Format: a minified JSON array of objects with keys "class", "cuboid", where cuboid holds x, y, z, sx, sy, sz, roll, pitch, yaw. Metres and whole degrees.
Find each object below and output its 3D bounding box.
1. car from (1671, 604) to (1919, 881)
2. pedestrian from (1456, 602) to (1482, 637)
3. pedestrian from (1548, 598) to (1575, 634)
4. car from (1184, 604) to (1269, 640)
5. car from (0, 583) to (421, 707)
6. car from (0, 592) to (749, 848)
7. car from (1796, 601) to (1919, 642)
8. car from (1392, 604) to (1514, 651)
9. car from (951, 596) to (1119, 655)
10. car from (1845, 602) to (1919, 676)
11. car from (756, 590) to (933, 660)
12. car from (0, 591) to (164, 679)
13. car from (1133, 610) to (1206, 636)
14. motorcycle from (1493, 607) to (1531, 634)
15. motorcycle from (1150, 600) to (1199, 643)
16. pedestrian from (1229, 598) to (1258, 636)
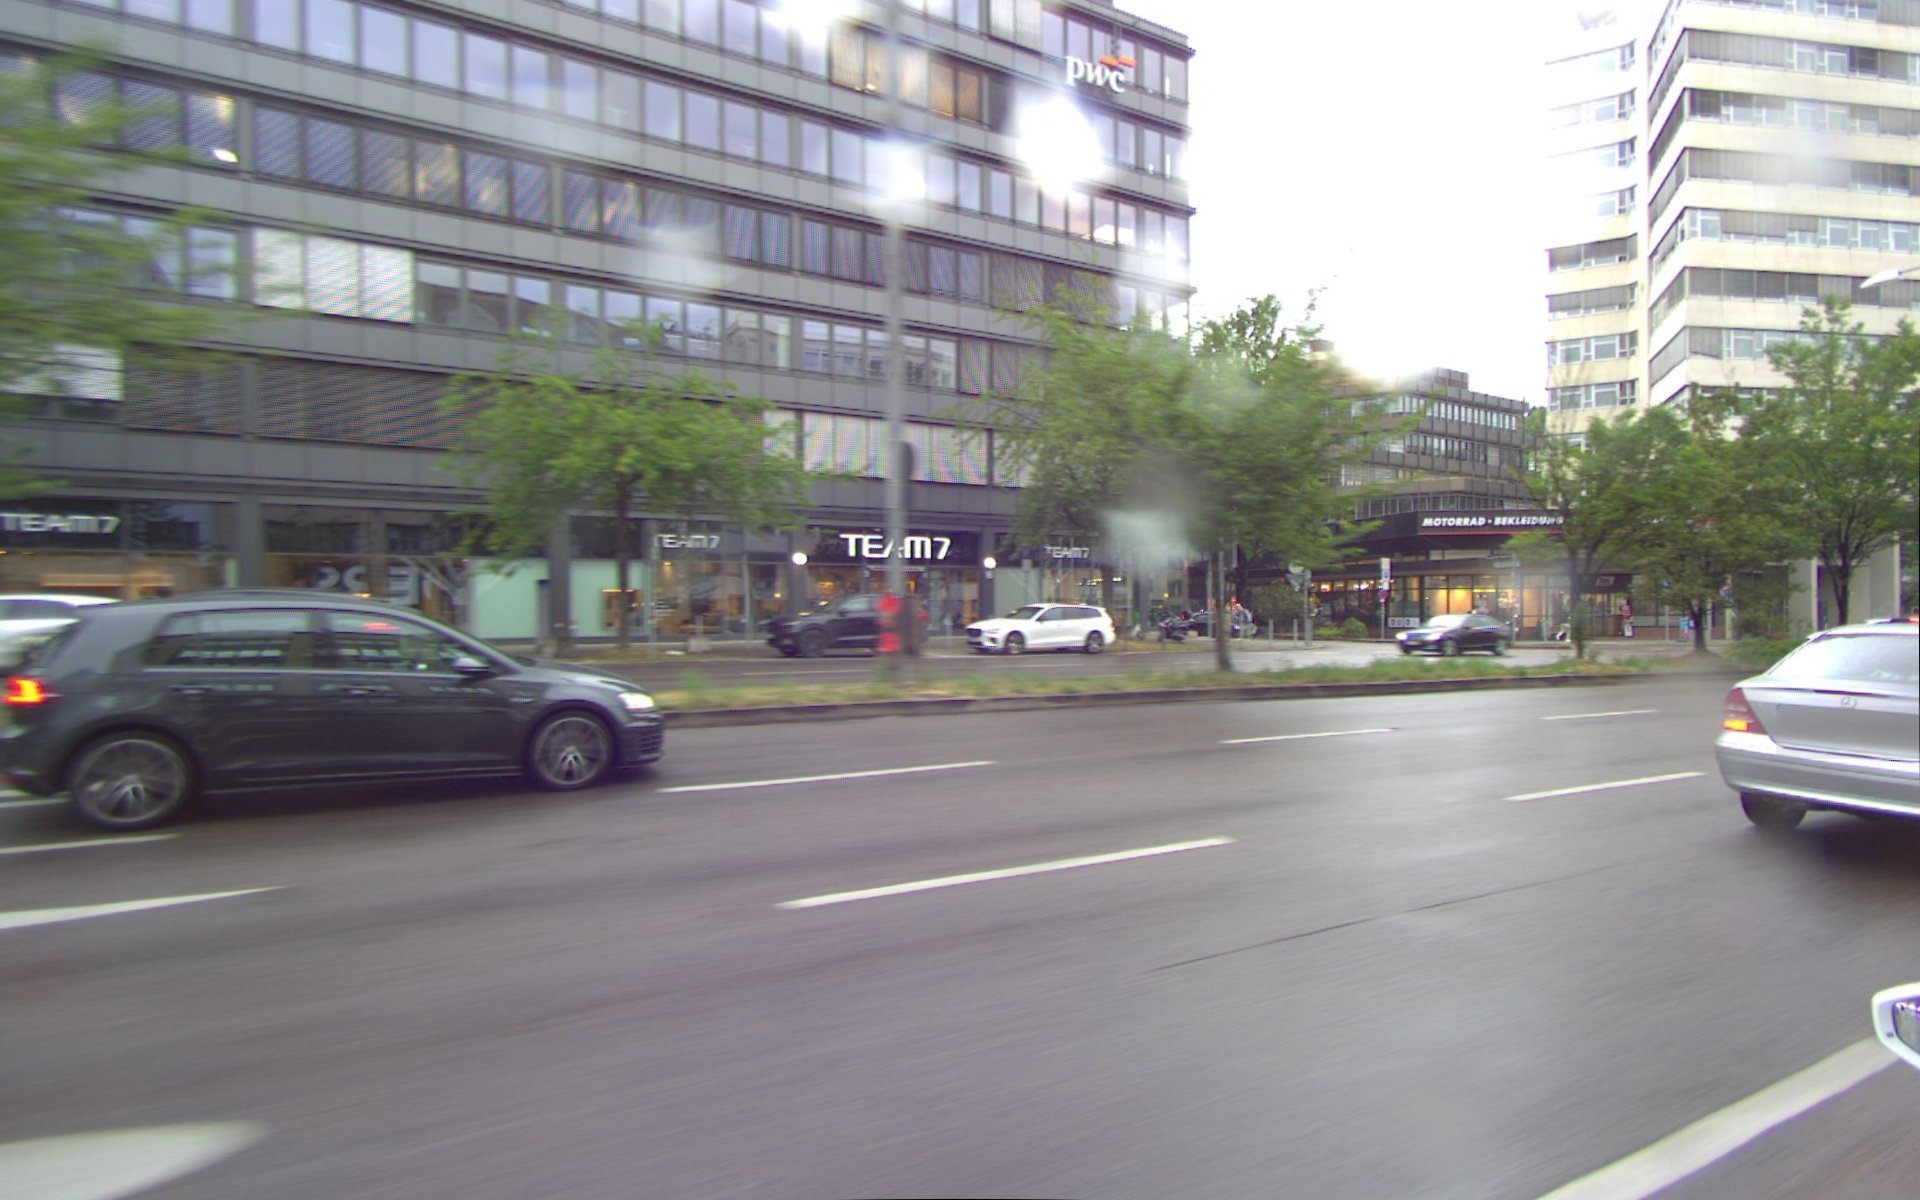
[{"class":"car","cuboid":[6.875,0.804,6.875,4.145,1.506,1.675,1,0,-29]},{"class":"pedestrian","cuboid":[26.849,1.025,53.013,0.908,1.857,0.818,0,0,-9]},{"class":"pedestrian","cuboid":[31.102,0.818,51.968,0.908,1.857,0.728,1,0,-10]},{"class":"car","cuboid":[13.639,1.104,51.563,1.976,1.662,3.968,1,0,-29]},{"class":"car","cuboid":[-10.457,0.576,14.430,4.666,1.536,1.798,1,0,-33]},{"class":"car","cuboid":[-4.161,0.678,7.751,4.638,1.470,1.828,0,0,-33]},{"class":"car","cuboid":[34.634,0.808,38.238,4.007,1.451,1.686,1,0,26]},{"class":"car","cuboid":[16.873,0.912,34.341,4.254,1.495,1.798,1,0,-33]},{"class":"car","cuboid":[2.228,0.731,29.465,4.716,1.505,1.799,1,3,-30]},{"class":"car","cuboid":[22.083,0.854,22.585,4.429,1.564,1.984,1,0,-30]},{"class":"car","cuboid":[-3.022,0.636,26.414,4.257,1.683,1.801,1,1,-29]},{"class":"car","cuboid":[-16.923,0.589,17.787,4.264,1.464,1.798,1,1,-33]},{"class":"car","cuboid":[11.615,1.282,55.928,1.825,1.305,3.969,1,0,-29]},{"class":"motorcycle","cuboid":[30.193,1.099,55.000,0.788,1.392,2.894,1,0,7]},{"class":"motorcycle","cuboid":[7.595,0.739,35.498,0.845,1.412,2.363,4,2,33]},{"class":"pedestrian","cuboid":[12.413,0.747,43.969,0.954,1.659,0.780,0,0,-30]}]
